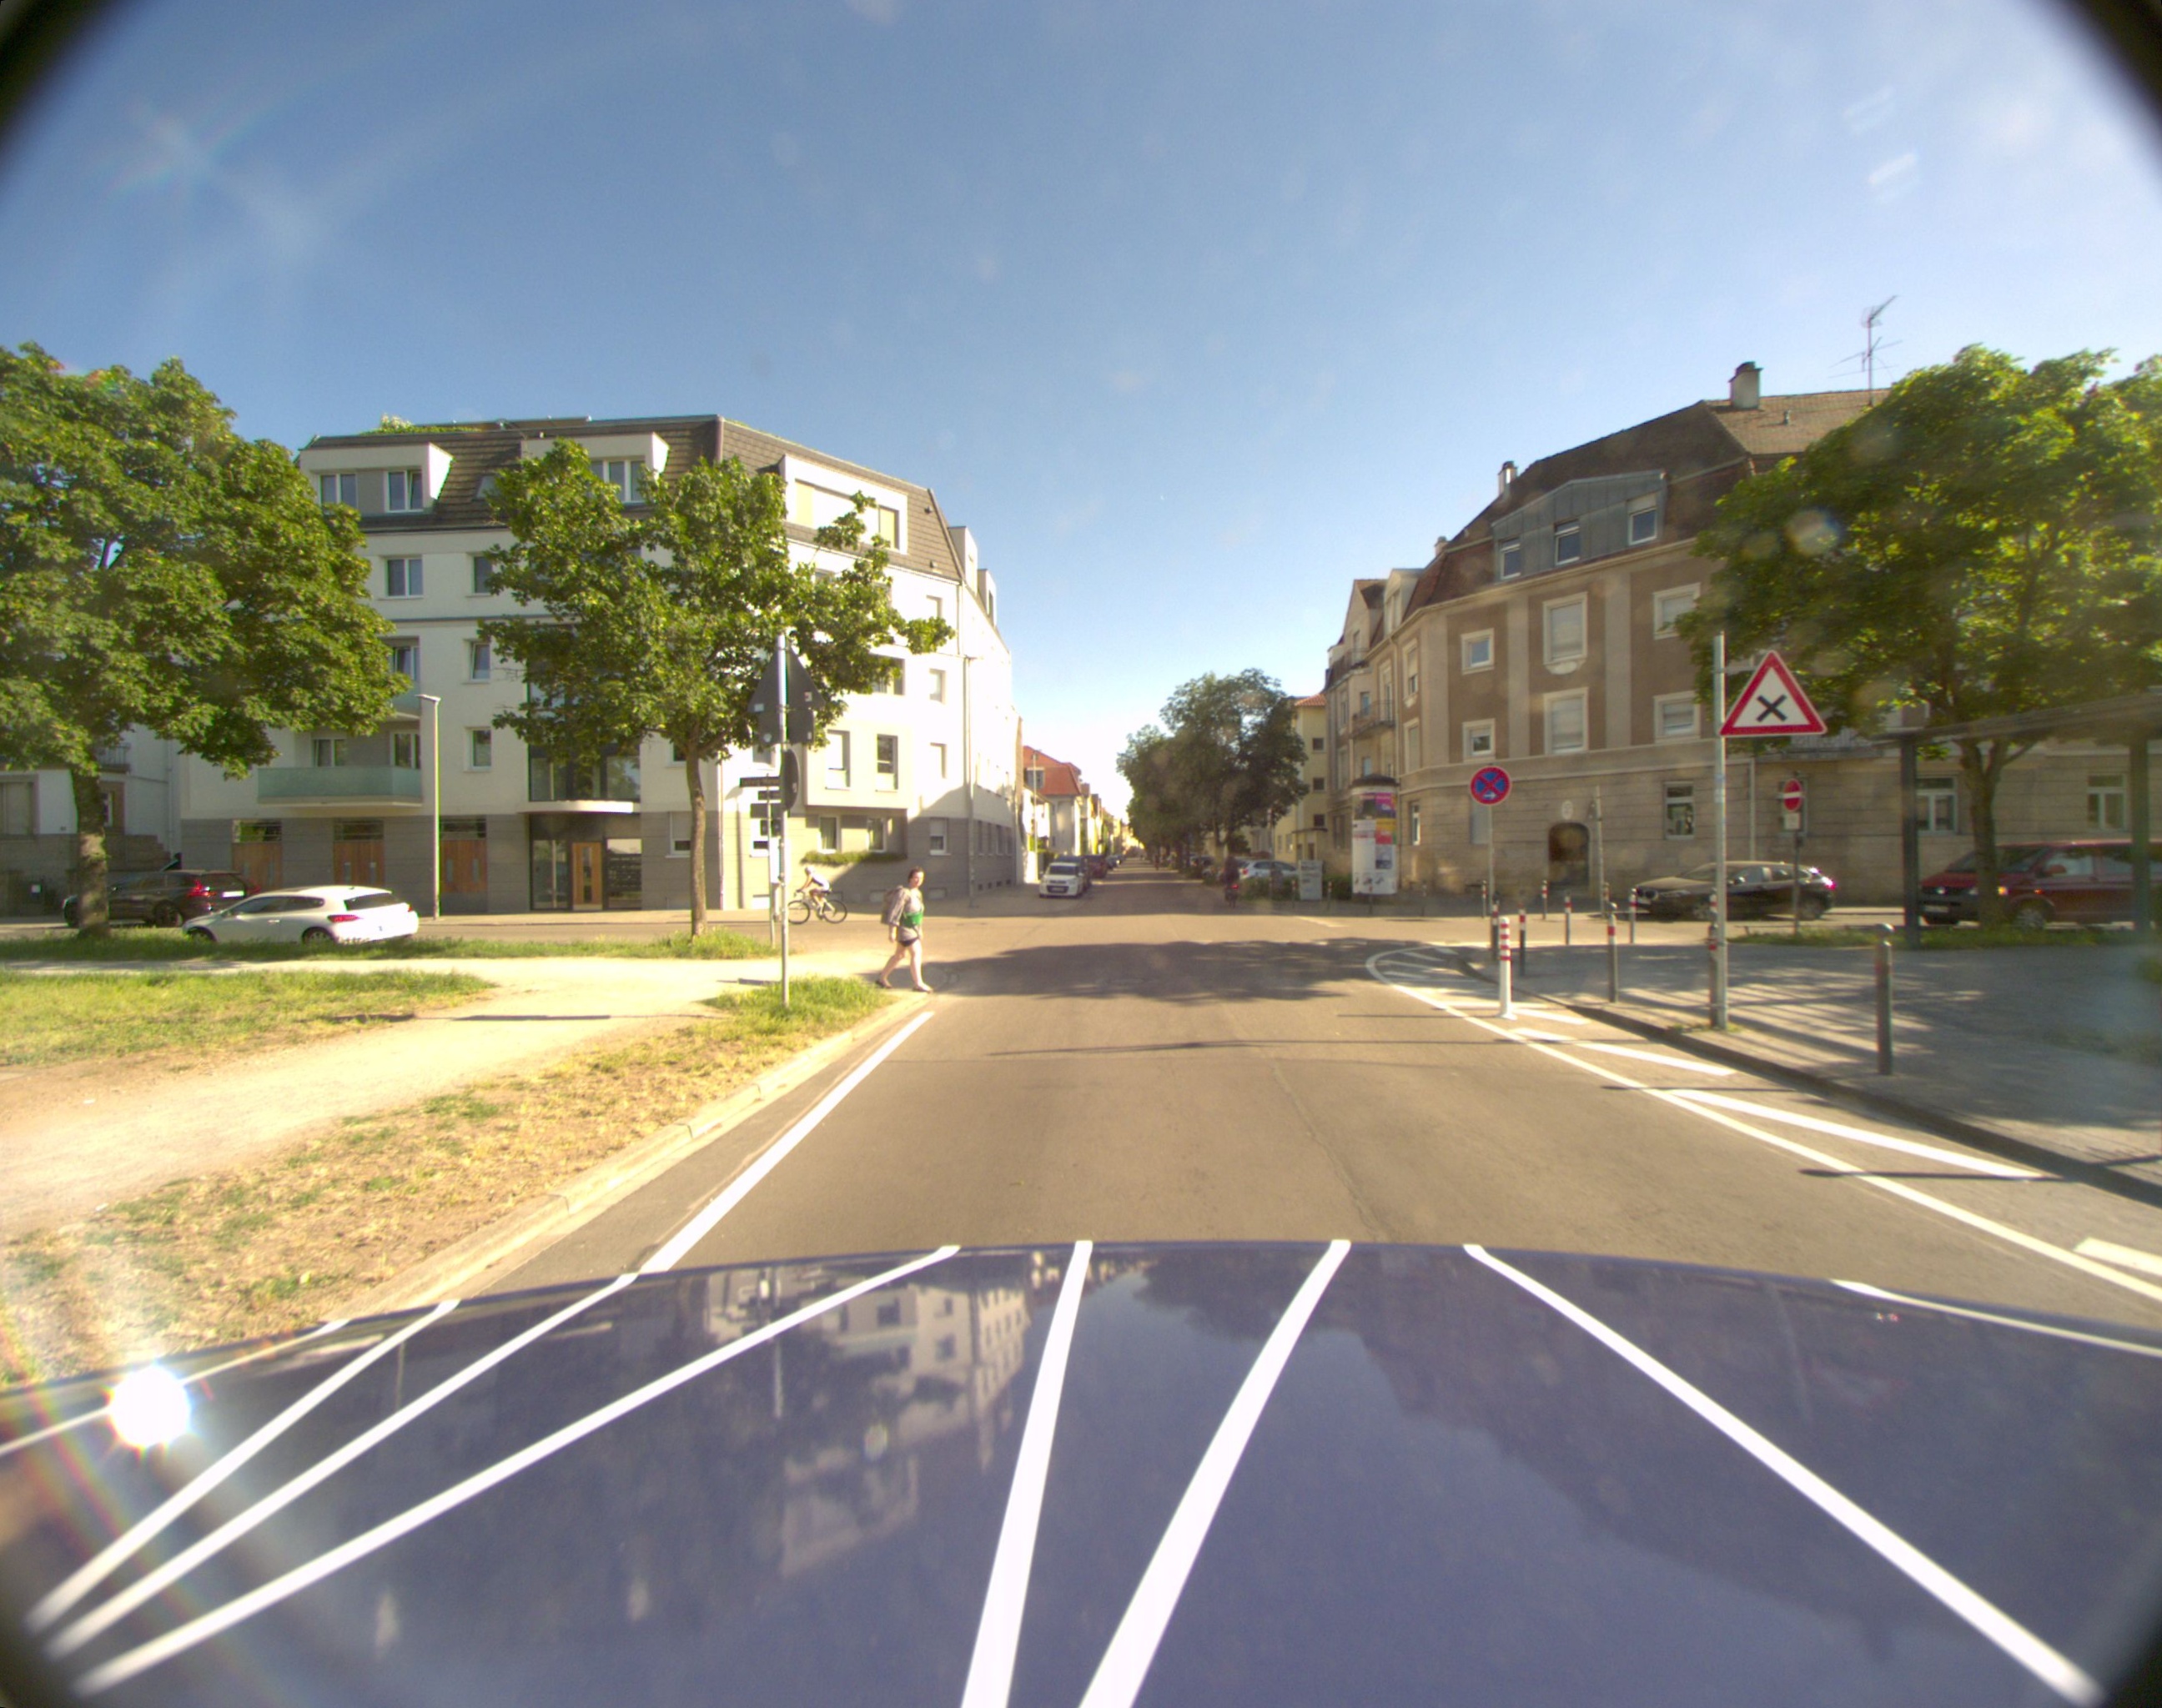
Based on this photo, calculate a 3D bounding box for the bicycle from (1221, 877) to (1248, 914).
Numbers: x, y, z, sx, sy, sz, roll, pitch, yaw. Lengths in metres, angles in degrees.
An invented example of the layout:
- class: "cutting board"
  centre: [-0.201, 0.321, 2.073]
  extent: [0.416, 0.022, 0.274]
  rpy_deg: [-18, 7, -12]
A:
- class: "bicycle"
  centre: [5.030, 1.354, 25.047]
  extent: [0.644, 1.102, 2.066]
  rpy_deg: [0, 0, 5]

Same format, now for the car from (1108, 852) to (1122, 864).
- class: "car"
  centre: [5.173, 0.567, 114.956]
  extent: [1.883, 1.734, 4.403]
  rpy_deg: [0, 0, 5]

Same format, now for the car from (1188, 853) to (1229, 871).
- class: "car"
  centre: [11.872, 0.735, 70.751]
  extent: [3.528, 1.486, 1.692]
  rpy_deg: [-2, 0, -1]

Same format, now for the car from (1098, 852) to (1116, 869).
- class: "car"
  centre: [3.110, 0.767, 88.506]
  extent: [1.883, 1.860, 4.403]
  rpy_deg: [0, 0, 5]

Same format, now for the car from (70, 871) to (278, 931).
- class: "car"
  centre: [-27.460, 1.394, 23.089]
  extent: [4.283, 1.673, 1.897]
  rpy_deg: [0, 1, 5]

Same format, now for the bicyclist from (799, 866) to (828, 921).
- class: "bicyclist"
  centre: [-7.203, 1.056, 20.490]
  extent: [0.688, 1.455, 0.497]
  rpy_deg: [-1, 0, -16]

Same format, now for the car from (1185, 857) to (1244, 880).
- class: "car"
  centre: [9.602, 1.043, 54.754]
  extent: [3.791, 1.486, 1.691]
  rpy_deg: [-2, 0, -9]

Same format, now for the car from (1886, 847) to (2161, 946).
- class: "car"
  centre: [20.891, 0.860, 16.328]
  extent: [4.881, 1.950, 1.897]
  rpy_deg: [0, 2, 5]

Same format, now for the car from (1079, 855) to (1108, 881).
- class: "car"
  centre: [1.035, 1.020, 59.054]
  extent: [1.883, 1.860, 4.403]
  rpy_deg: [2, 0, 5]

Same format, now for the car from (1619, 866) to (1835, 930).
- class: "car"
  centre: [16.807, 1.116, 19.941]
  extent: [4.011, 1.475, 1.867]
  rpy_deg: [0, 3, 1]

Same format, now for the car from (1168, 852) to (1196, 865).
- class: "car"
  centre: [13.643, 0.613, 102.993]
  extent: [3.527, 1.693, 1.692]
  rpy_deg: [-2, 0, 2]

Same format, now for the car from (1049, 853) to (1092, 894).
- class: "car"
  centre: [-0.471, 0.922, 37.302]
  extent: [1.664, 1.825, 4.258]
  rpy_deg: [2, 0, 5]

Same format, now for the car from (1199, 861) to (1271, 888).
- class: "car"
  centre: [9.120, 1.185, 45.171]
  extent: [3.791, 1.486, 1.691]
  rpy_deg: [-2, 0, -9]

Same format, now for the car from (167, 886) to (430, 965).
- class: "car"
  centre: [-16.878, 1.522, 16.523]
  extent: [3.990, 1.426, 1.739]
  rpy_deg: [-1, 4, 4]

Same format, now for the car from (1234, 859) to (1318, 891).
- class: "car"
  centre: [9.753, 1.030, 38.163]
  extent: [3.788, 1.436, 1.692]
  rpy_deg: [-2, 0, 1]

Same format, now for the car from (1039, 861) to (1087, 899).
- class: "car"
  centre: [-0.721, 1.065, 32.843]
  extent: [1.664, 1.440, 3.689]
  rpy_deg: [2, 0, 4]

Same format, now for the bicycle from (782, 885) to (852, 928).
- class: "bicycle"
  centre: [-7.108, 1.405, 20.517]
  extent: [1.710, 1.082, 0.506]
  rpy_deg: [0, 0, -14]

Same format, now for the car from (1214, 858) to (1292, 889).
- class: "car"
  centre: [9.100, 1.034, 40.396]
  extent: [3.788, 1.486, 1.692]
  rpy_deg: [-2, 0, 1]

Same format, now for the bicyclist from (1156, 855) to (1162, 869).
- class: "bicyclist"
  centre: [8.466, 0.886, 82.683]
  extent: [0.644, 1.557, 1.043]
  rpy_deg: [0, 0, 5]

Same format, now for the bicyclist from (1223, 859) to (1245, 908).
- class: "bicyclist"
  centre: [5.026, 0.962, 25.046]
  extent: [0.644, 1.610, 0.637]
  rpy_deg: [0, 0, 5]

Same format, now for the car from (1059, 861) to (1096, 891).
- class: "car"
  centre: [-0.151, 1.204, 42.701]
  extent: [1.664, 1.533, 4.067]
  rpy_deg: [2, 0, 5]

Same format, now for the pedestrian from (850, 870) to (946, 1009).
- class: "pedestrian"
  centre: [-2.404, 1.076, 10.058]
  extent: [1.090, 1.664, 0.912]
  rpy_deg: [-3, 1, -13]

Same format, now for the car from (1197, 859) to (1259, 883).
- class: "car"
  centre: [9.914, 1.118, 51.333]
  extent: [3.791, 1.486, 1.691]
  rpy_deg: [-2, 0, -9]

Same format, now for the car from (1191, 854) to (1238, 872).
- class: "car"
  centre: [11.595, 0.794, 66.289]
  extent: [3.789, 1.486, 1.692]
  rpy_deg: [-2, 0, -1]

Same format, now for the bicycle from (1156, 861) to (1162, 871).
- class: "bicycle"
  centre: [8.487, 1.310, 82.845]
  extent: [0.644, 1.102, 2.066]
  rpy_deg: [0, 0, 5]
